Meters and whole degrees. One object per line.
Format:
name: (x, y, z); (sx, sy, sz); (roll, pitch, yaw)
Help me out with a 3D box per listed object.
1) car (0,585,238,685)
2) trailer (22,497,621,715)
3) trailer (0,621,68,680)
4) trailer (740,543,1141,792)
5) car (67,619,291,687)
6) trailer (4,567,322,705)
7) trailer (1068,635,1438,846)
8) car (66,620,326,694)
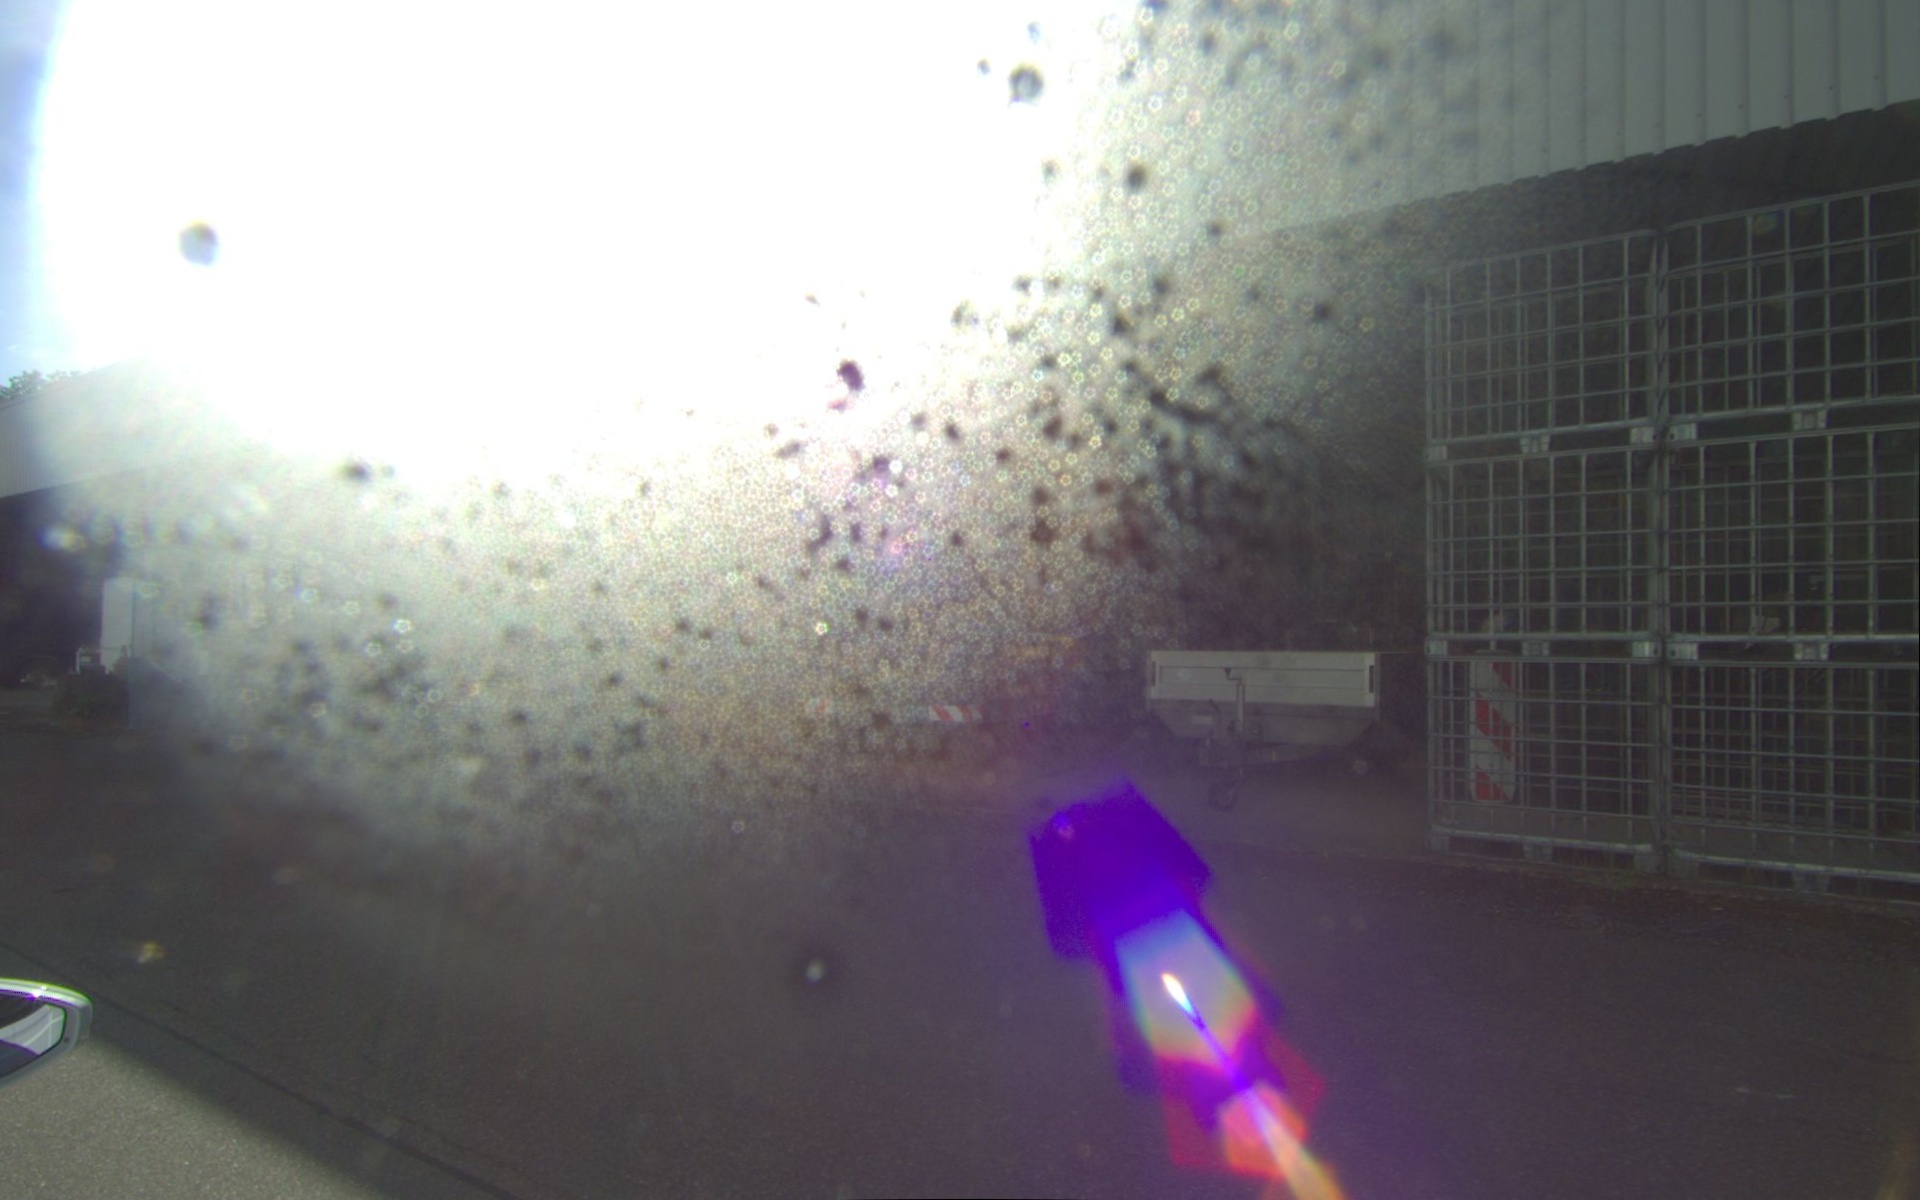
car: (-22.044, 0.889, 25.695); (2.121, 2.310, 5.325); (-1, -2, 31)
trailer: (-12.088, 0.162, 20.650); (2.761, 3.386, 10.249); (0, -1, 32)
trailer: (-24.811, 1.305, 26.100); (1.715, 1.485, 2.032); (-1, -1, 36)
trailer: (0.044, 0.595, 10.576); (2.133, 2.016, 4.413); (-1, -1, 33)
car: (-19.055, 1.258, 24.623); (1.812, 1.533, 3.961); (-1, -2, 28)
trailer: (-15.511, 0.671, 19.762); (2.018, 2.372, 4.507); (-1, -1, 32)
trailer: (3.048, 0.980, 9.179); (1.945, 1.200, 5.720); (-1, -1, 30)
car: (-16.878, 1.205, 22.354); (1.841, 1.490, 4.245); (0, -2, 28)
